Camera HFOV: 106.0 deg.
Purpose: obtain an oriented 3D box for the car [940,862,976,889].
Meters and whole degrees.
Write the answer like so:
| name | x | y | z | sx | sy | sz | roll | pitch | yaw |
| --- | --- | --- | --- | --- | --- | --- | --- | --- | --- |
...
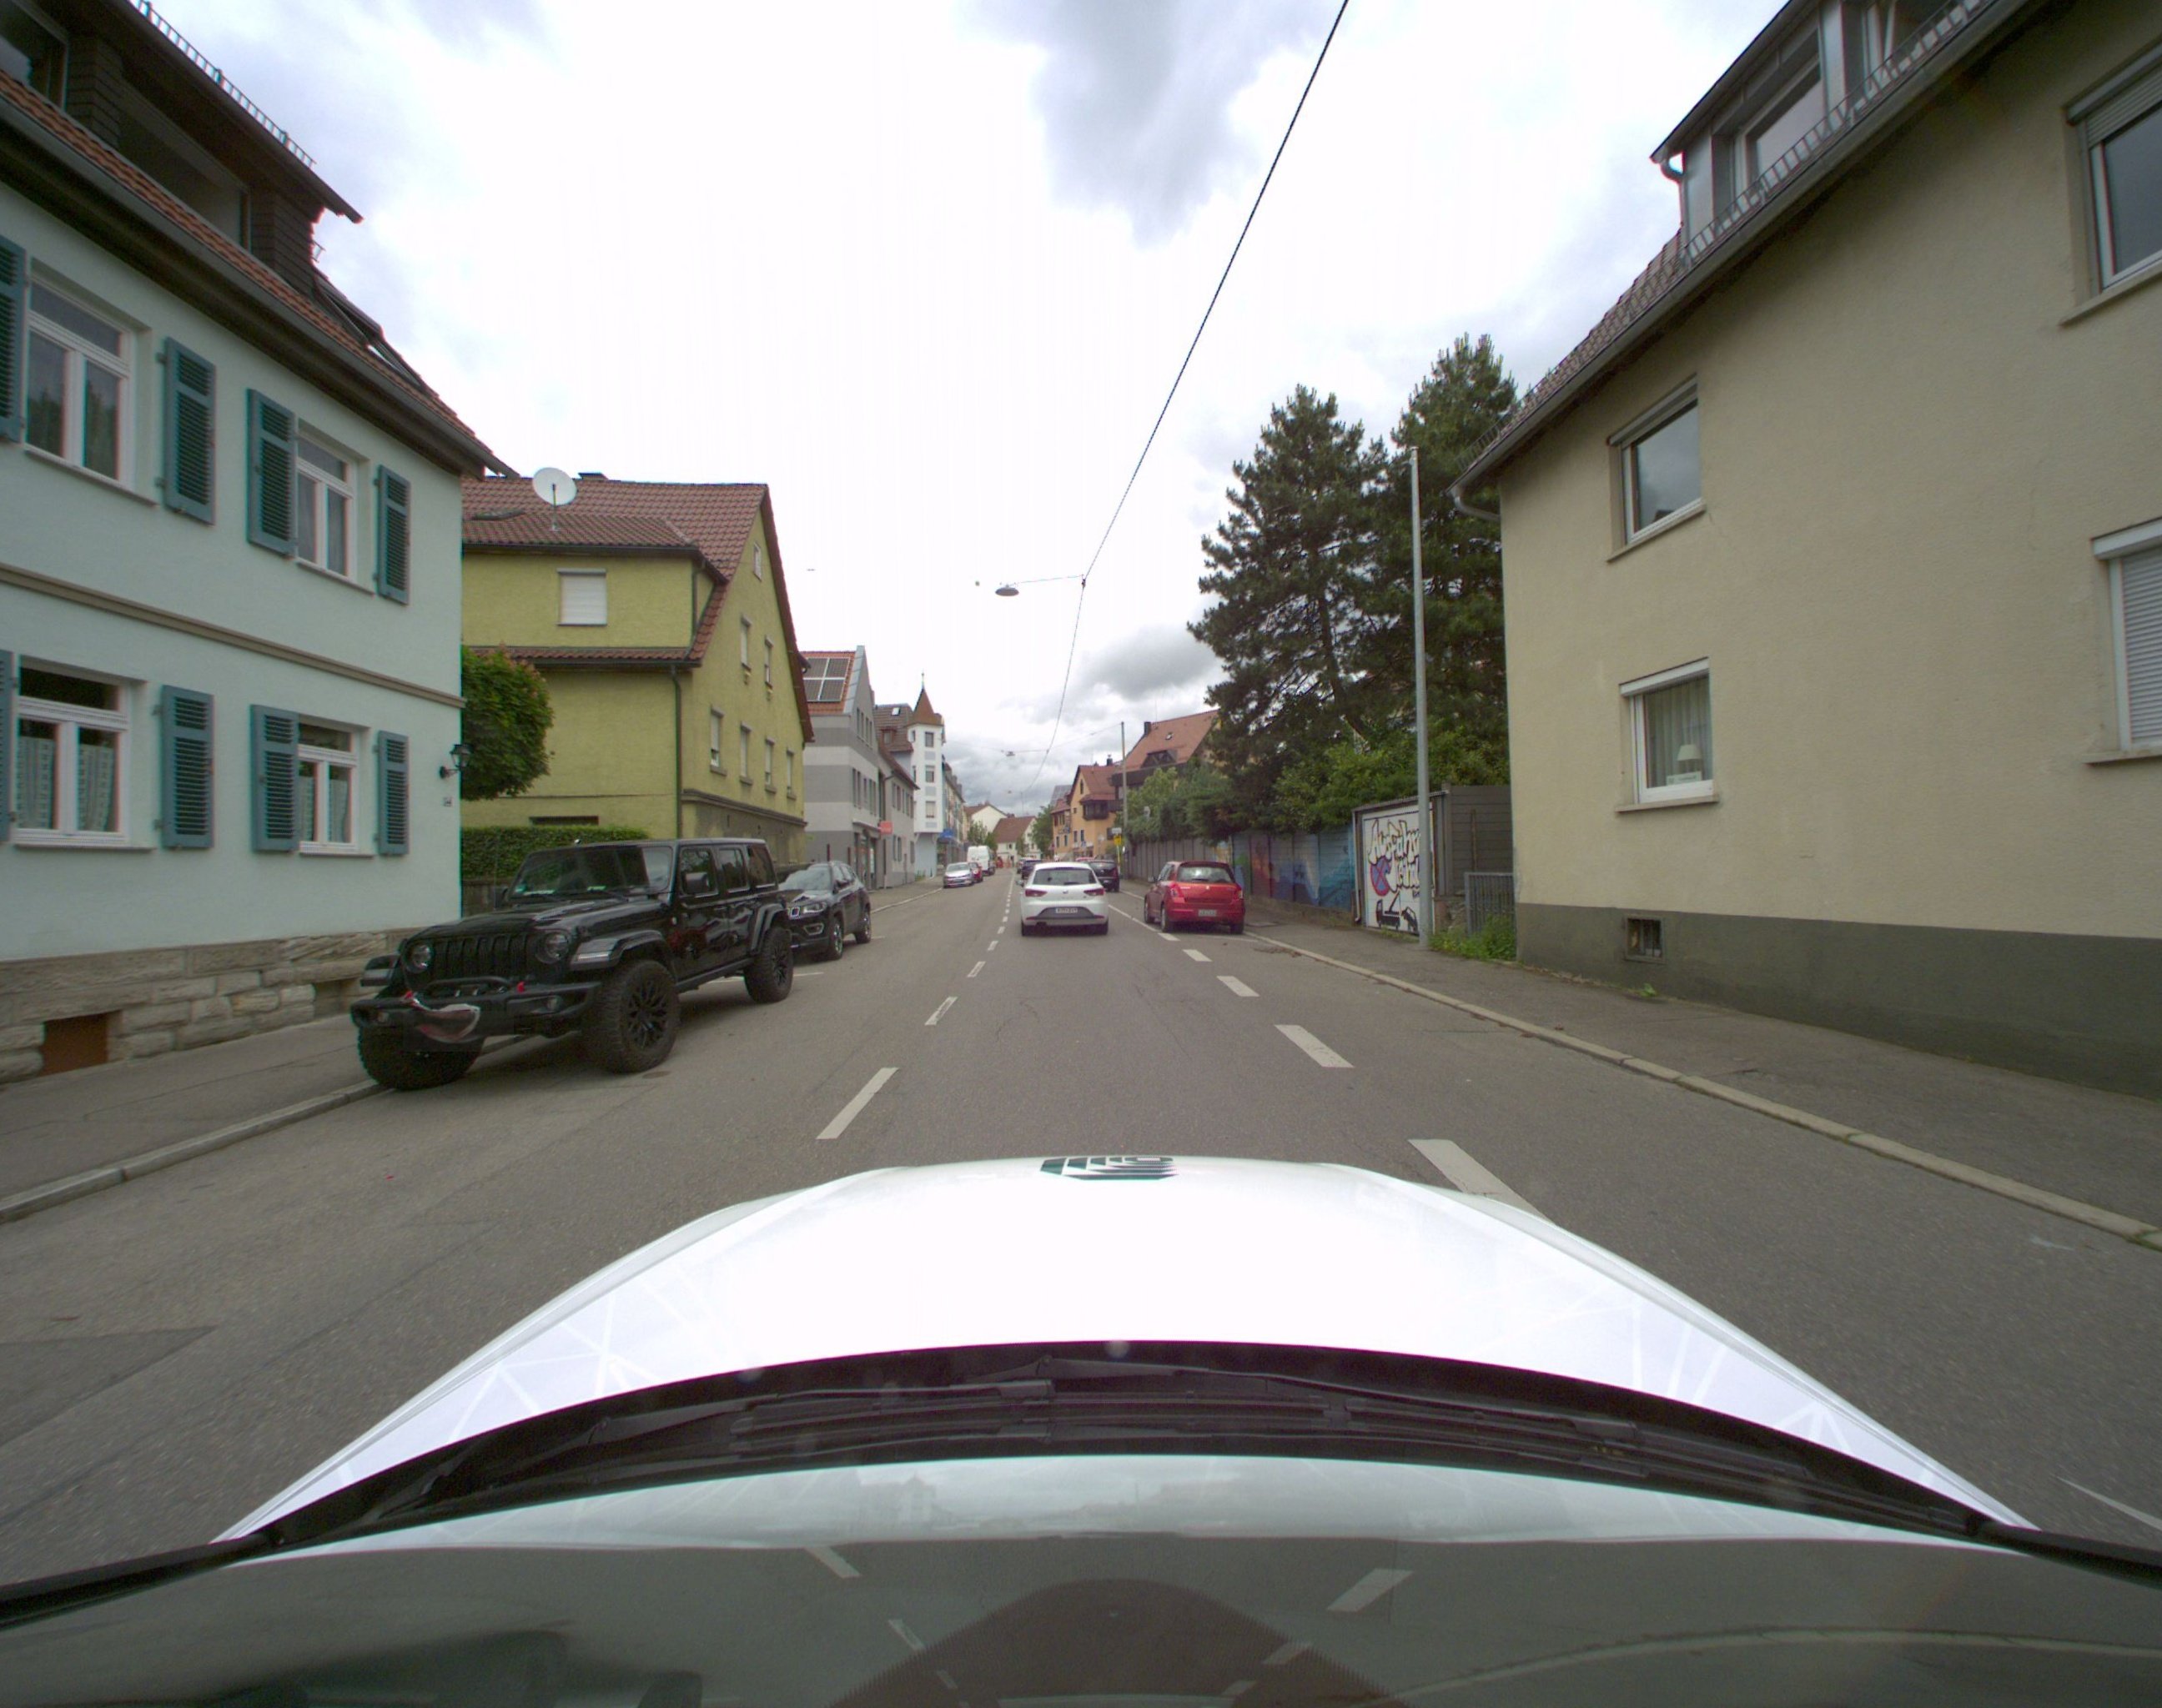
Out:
| name | x | y | z | sx | sy | sz | roll | pitch | yaw |
| --- | --- | --- | --- | --- | --- | --- | --- | --- | --- |
| car | -7.462 | 1.269 | 49.602 | 1.796 | 1.479 | 4.044 | -4 | 0 | -5 |

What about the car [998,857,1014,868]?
| name | x | y | z | sx | sy | sz | roll | pitch | yaw |
| --- | --- | --- | --- | --- | --- | --- | --- | --- | --- |
| car | -12.627 | 1.415 | 136.998 | 1.785 | 1.701 | 4.007 | -1 | 0 | 6 |

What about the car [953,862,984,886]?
| name | x | y | z | sx | sy | sz | roll | pitch | yaw |
| --- | --- | --- | --- | --- | --- | --- | --- | --- | --- |
| car | -7.580 | 1.322 | 55.228 | 1.796 | 1.479 | 4.044 | -4 | 0 | -5 |

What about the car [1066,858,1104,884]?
| name | x | y | z | sx | sy | sz | roll | pitch | yaw |
| --- | --- | --- | --- | --- | --- | --- | --- | --- | --- |
| car | 0.188 | 1.010 | 49.078 | 1.757 | 1.452 | 3.990 | -1 | 0 | -7 |

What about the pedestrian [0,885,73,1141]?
| name | x | y | z | sx | sy | sz | roll | pitch | yaw |
| --- | --- | --- | --- | --- | --- | --- | --- | --- | --- |
| pedestrian | -6.782 | 0.940 | 4.642 | 0.803 | 1.500 | 0.976 | 0 | -1 | 1 |

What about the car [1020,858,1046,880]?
| name | x | y | z | sx | sy | sz | roll | pitch | yaw |
| --- | --- | --- | --- | --- | --- | --- | --- | --- | --- |
| car | -3.384 | 1.065 | 57.510 | 1.755 | 1.452 | 3.994 | -1 | 0 | -4 |

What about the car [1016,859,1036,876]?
| name | x | y | z | sx | sy | sz | roll | pitch | yaw |
| --- | --- | --- | --- | --- | --- | --- | --- | --- | --- |
| car | -5.026 | 1.195 | 74.285 | 1.755 | 1.452 | 3.993 | -1 | 0 | -5 |

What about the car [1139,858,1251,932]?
| name | x | y | z | sx | sy | sz | roll | pitch | yaw |
| --- | --- | --- | --- | --- | --- | --- | --- | --- | --- |
| car | 2.424 | 0.832 | 18.234 | 1.754 | 1.452 | 3.995 | 1 | 0 | -3 |

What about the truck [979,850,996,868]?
| name | x | y | z | sx | sy | sz | roll | pitch | yaw |
| --- | --- | --- | --- | --- | --- | --- | --- | --- | --- |
| truck | -13.788 | 0.715 | 120.601 | 2.148 | 2.459 | 5.387 | 0 | 0 | -4 |

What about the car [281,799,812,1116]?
| name | x | y | z | sx | sy | sz | roll | pitch | yaw |
| --- | --- | --- | --- | --- | --- | --- | --- | --- | --- |
| car | -4.398 | 0.696 | 7.882 | 1.988 | 2.013 | 4.668 | -4 | 0 | -1 |

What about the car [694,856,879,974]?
| name | x | y | z | sx | sy | sz | roll | pitch | yaw |
| --- | --- | --- | --- | --- | --- | --- | --- | --- | --- |
| car | -5.036 | 0.925 | 14.660 | 1.893 | 1.619 | 4.518 | -3 | 1 | -4 |

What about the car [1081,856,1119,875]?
| name | x | y | z | sx | sy | sz | roll | pitch | yaw |
| --- | --- | --- | --- | --- | --- | --- | --- | --- | --- |
| car | 1.592 | 0.951 | 68.280 | 2.813 | 1.512 | 1.700 | 0 | 1 | -16 |

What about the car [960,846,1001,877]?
| name | x | y | z | sx | sy | sz | roll | pitch | yaw |
| --- | --- | --- | --- | --- | --- | --- | --- | --- | --- |
| car | -8.828 | 0.623 | 71.830 | 2.140 | 2.687 | 5.558 | 0 | 0 | 8 |

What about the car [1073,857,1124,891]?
| name | x | y | z | sx | sy | sz | roll | pitch | yaw |
| --- | --- | --- | --- | --- | --- | --- | --- | --- | --- |
| car | 0.758 | 0.894 | 37.855 | 1.757 | 1.452 | 3.990 | -1 | 0 | -7 |

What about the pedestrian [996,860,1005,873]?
| name | x | y | z | sx | sy | sz | roll | pitch | yaw |
| --- | --- | --- | --- | --- | --- | --- | --- | --- | --- |
| pedestrian | -12.930 | 2.012 | 130.918 | 1.226 | 2.013 | 1.174 | -1 | 0 | -4 |

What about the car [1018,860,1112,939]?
| name | x | y | z | sx | sy | sz | roll | pitch | yaw |
| --- | --- | --- | --- | --- | --- | --- | --- | --- | --- |
| car | -0.435 | 0.868 | 17.409 | 1.755 | 1.452 | 3.994 | -1 | 0 | -4 |
